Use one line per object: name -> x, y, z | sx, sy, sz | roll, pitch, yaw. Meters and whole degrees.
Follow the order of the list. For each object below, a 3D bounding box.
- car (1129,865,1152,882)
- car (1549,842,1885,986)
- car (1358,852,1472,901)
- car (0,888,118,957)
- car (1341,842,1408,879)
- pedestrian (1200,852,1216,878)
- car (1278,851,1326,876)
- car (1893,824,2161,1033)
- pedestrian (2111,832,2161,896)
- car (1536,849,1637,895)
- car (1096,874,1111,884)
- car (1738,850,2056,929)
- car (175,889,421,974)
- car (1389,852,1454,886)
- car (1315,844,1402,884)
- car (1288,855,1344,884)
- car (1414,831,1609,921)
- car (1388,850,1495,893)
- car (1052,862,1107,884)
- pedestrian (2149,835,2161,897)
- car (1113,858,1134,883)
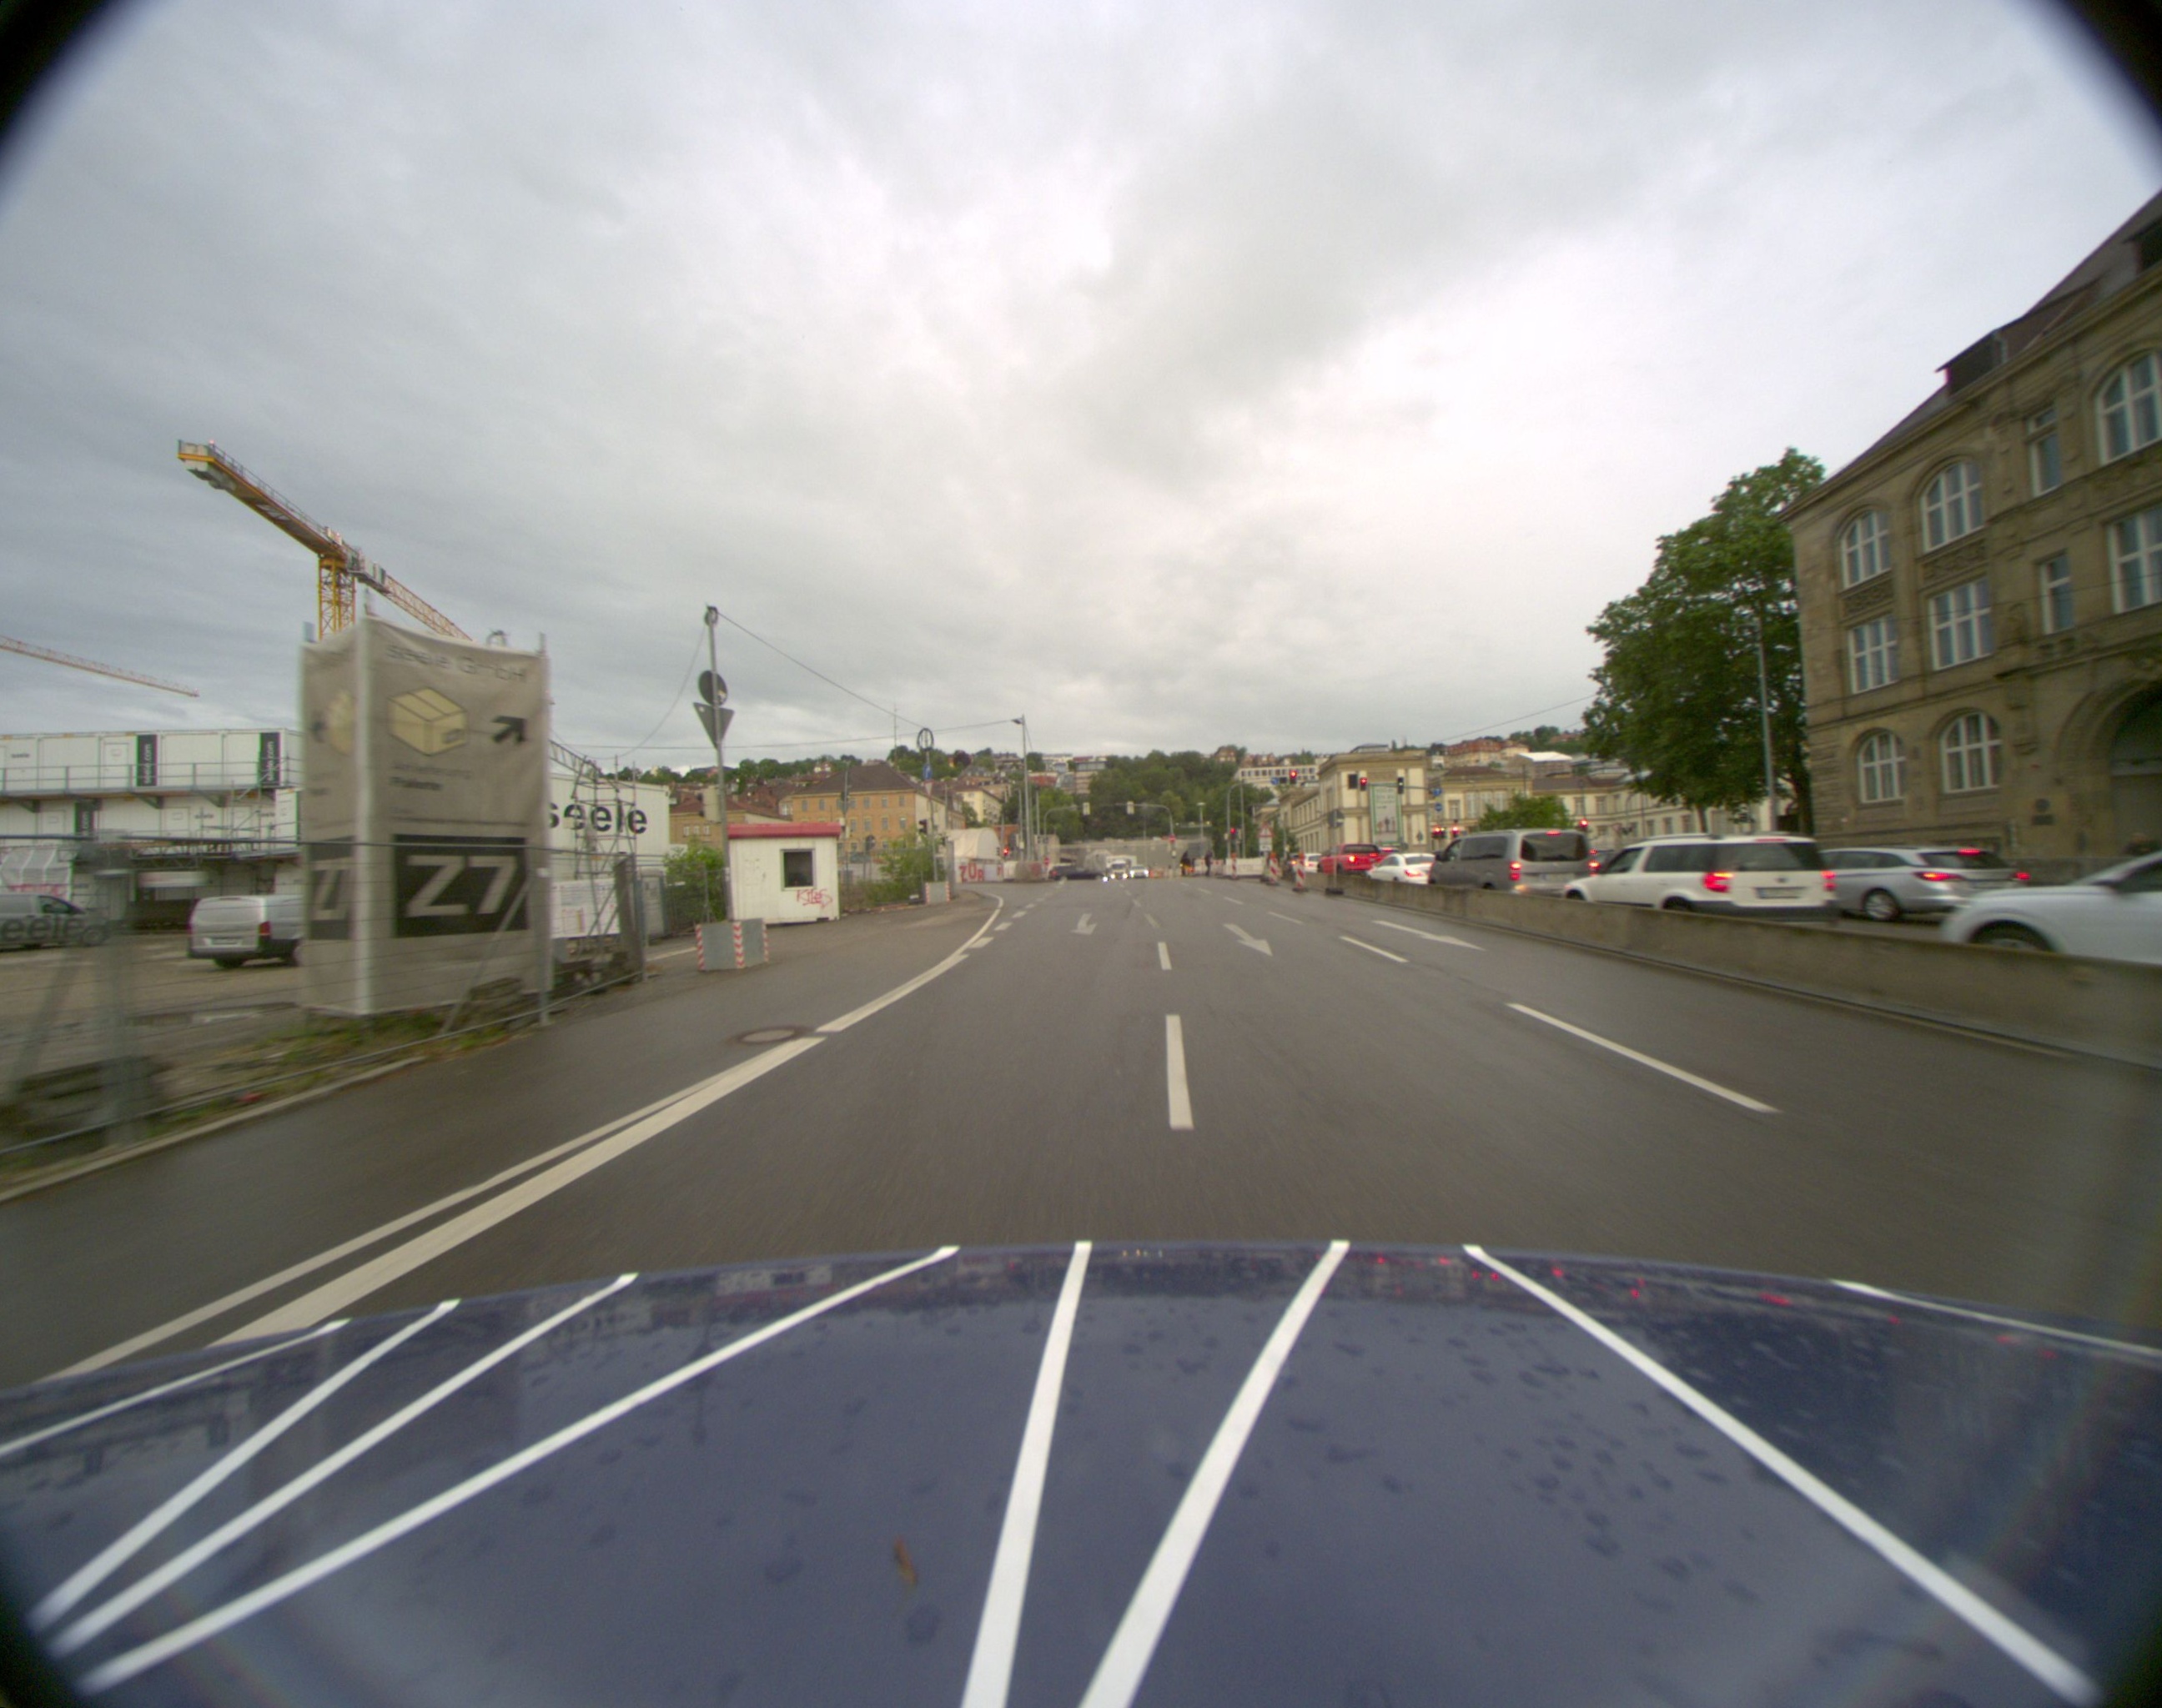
car -> 6.061, 1.977, 78.287 | 1.999, 1.561, 3.999 | 0, 0, -1
car -> 9.562, 0.777, 12.022 | 1.913, 1.855, 4.380 | 0, 0, 5
car -> 11.111, 0.700, 25.708 | 1.998, 1.493, 4.823 | 0, 0, 4
car -> -33.034, 2.093, 22.935 | 2.000, 1.876, 4.979 | 1, 0, -8
car -> 14.829, 0.304, 38.685 | 1.998, 1.784, 4.617 | 0, 0, 5
pedestrian -> 8.328, 0.727, 49.926 | 0.784, 1.700, 0.761 | -1, 1, -17
car -> 13.398, 0.549, 46.280 | 1.998, 1.462, 4.348 | 0, 0, 5
car -> 8.939, 0.547, 5.150 | 1.898, 1.558, 4.900 | 0, 0, 5
pedestrian -> 26.745, 0.239, 19.124 | 0.617, 1.575, 0.735 | 0, 1, 7
car -> 23.567, 0.782, 35.606 | 1.999, 2.002, 3.999 | -1, 0, -2
car -> 3.887, 4.274, 130.245 | 1.997, 1.462, 4.349 | 0, 0, 8
car -> 16.173, 0.618, 15.470 | 1.998, 1.374, 4.212 | 0, 0, 1
car -> -21.075, 1.998, 20.829 | 2.018, 1.890, 4.653 | 0, -1, -2
car -> 19.272, 0.803, 43.191 | 1.784, 1.800, 3.999 | -1, 0, -2
car -> 11.547, 0.388, 32.029 | 1.998, 1.558, 5.383 | 0, 0, 3
car -> 12.546, 0.803, 40.918 | 1.998, 1.462, 4.563 | 0, 0, 5
car -> 10.174, 0.452, 18.602 | 1.998, 1.855, 5.597 | 0, 0, 5
car -> 14.784, 0.662, 31.487 | 1.999, 1.638, 4.613 | -1, 0, -5
car -> -0.166, 1.430, 58.951 | 4.111, 1.608, 1.887 | -1, 0, -6
pedestrian -> 27.626, 0.308, 19.062 | 0.618, 1.575, 0.735 | 0, 1, -1
car -> 7.275, 2.754, 129.288 | 2.835, 3.990, 8.729 | 0, 0, 7
